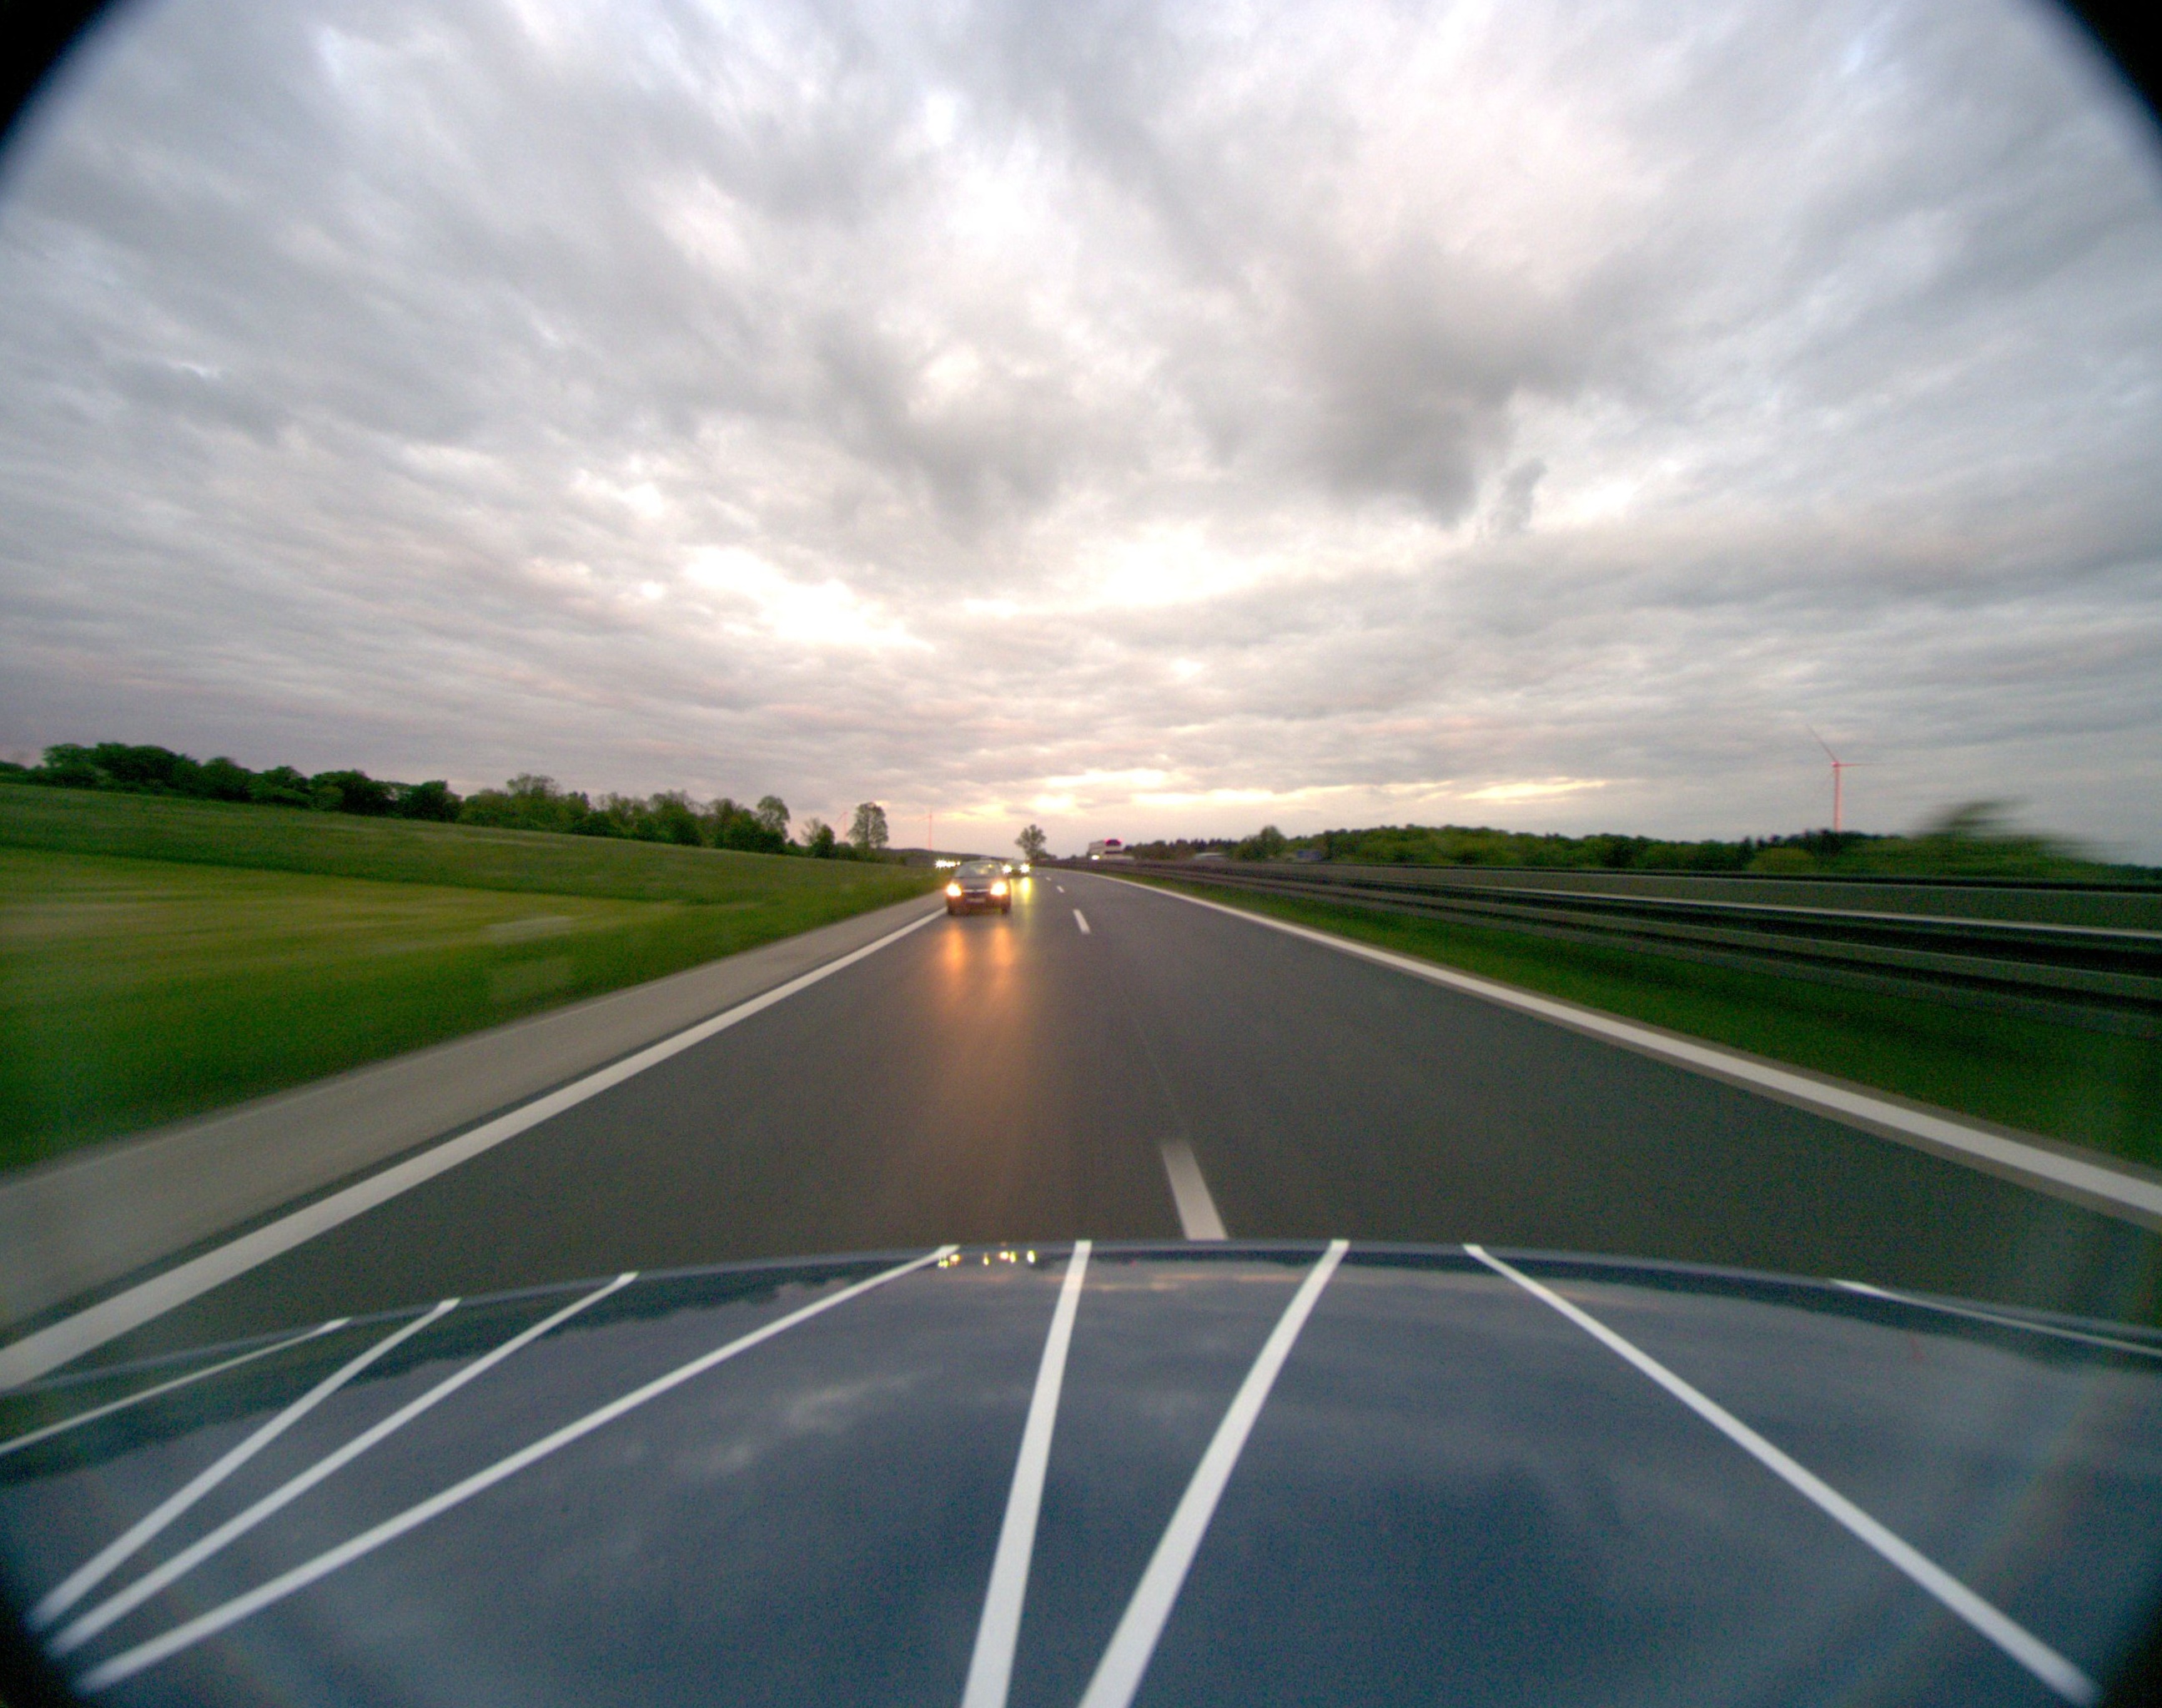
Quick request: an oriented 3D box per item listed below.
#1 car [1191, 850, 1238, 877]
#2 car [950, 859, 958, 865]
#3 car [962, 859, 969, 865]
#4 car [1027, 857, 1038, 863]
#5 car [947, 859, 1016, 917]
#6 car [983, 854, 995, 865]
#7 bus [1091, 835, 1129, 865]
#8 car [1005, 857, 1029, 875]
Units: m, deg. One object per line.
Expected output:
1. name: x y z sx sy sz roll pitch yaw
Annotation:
1. car: 8.396 0.570 48.131 1.846 1.586 4.406 1 0 -4
2. car: -37.138 2.366 222.371 1.804 1.635 4.088 -1 1 -15
3. car: -30.729 2.077 202.053 1.804 1.635 4.089 -1 1 -12
4. car: -12.479 1.625 193.624 1.923 1.501 4.723 1 0 -14
5. car: -2.859 0.921 22.494 1.682 1.504 3.999 -1 0 -3
6. car: -16.559 0.991 136.640 1.921 1.827 3.996 0 0 -11
7. bus: 4.162 -0.596 115.243 3.176 4.052 14.799 -2 1 -8
8. car: -5.234 0.945 62.406 1.885 1.388 3.998 0 0 -4
